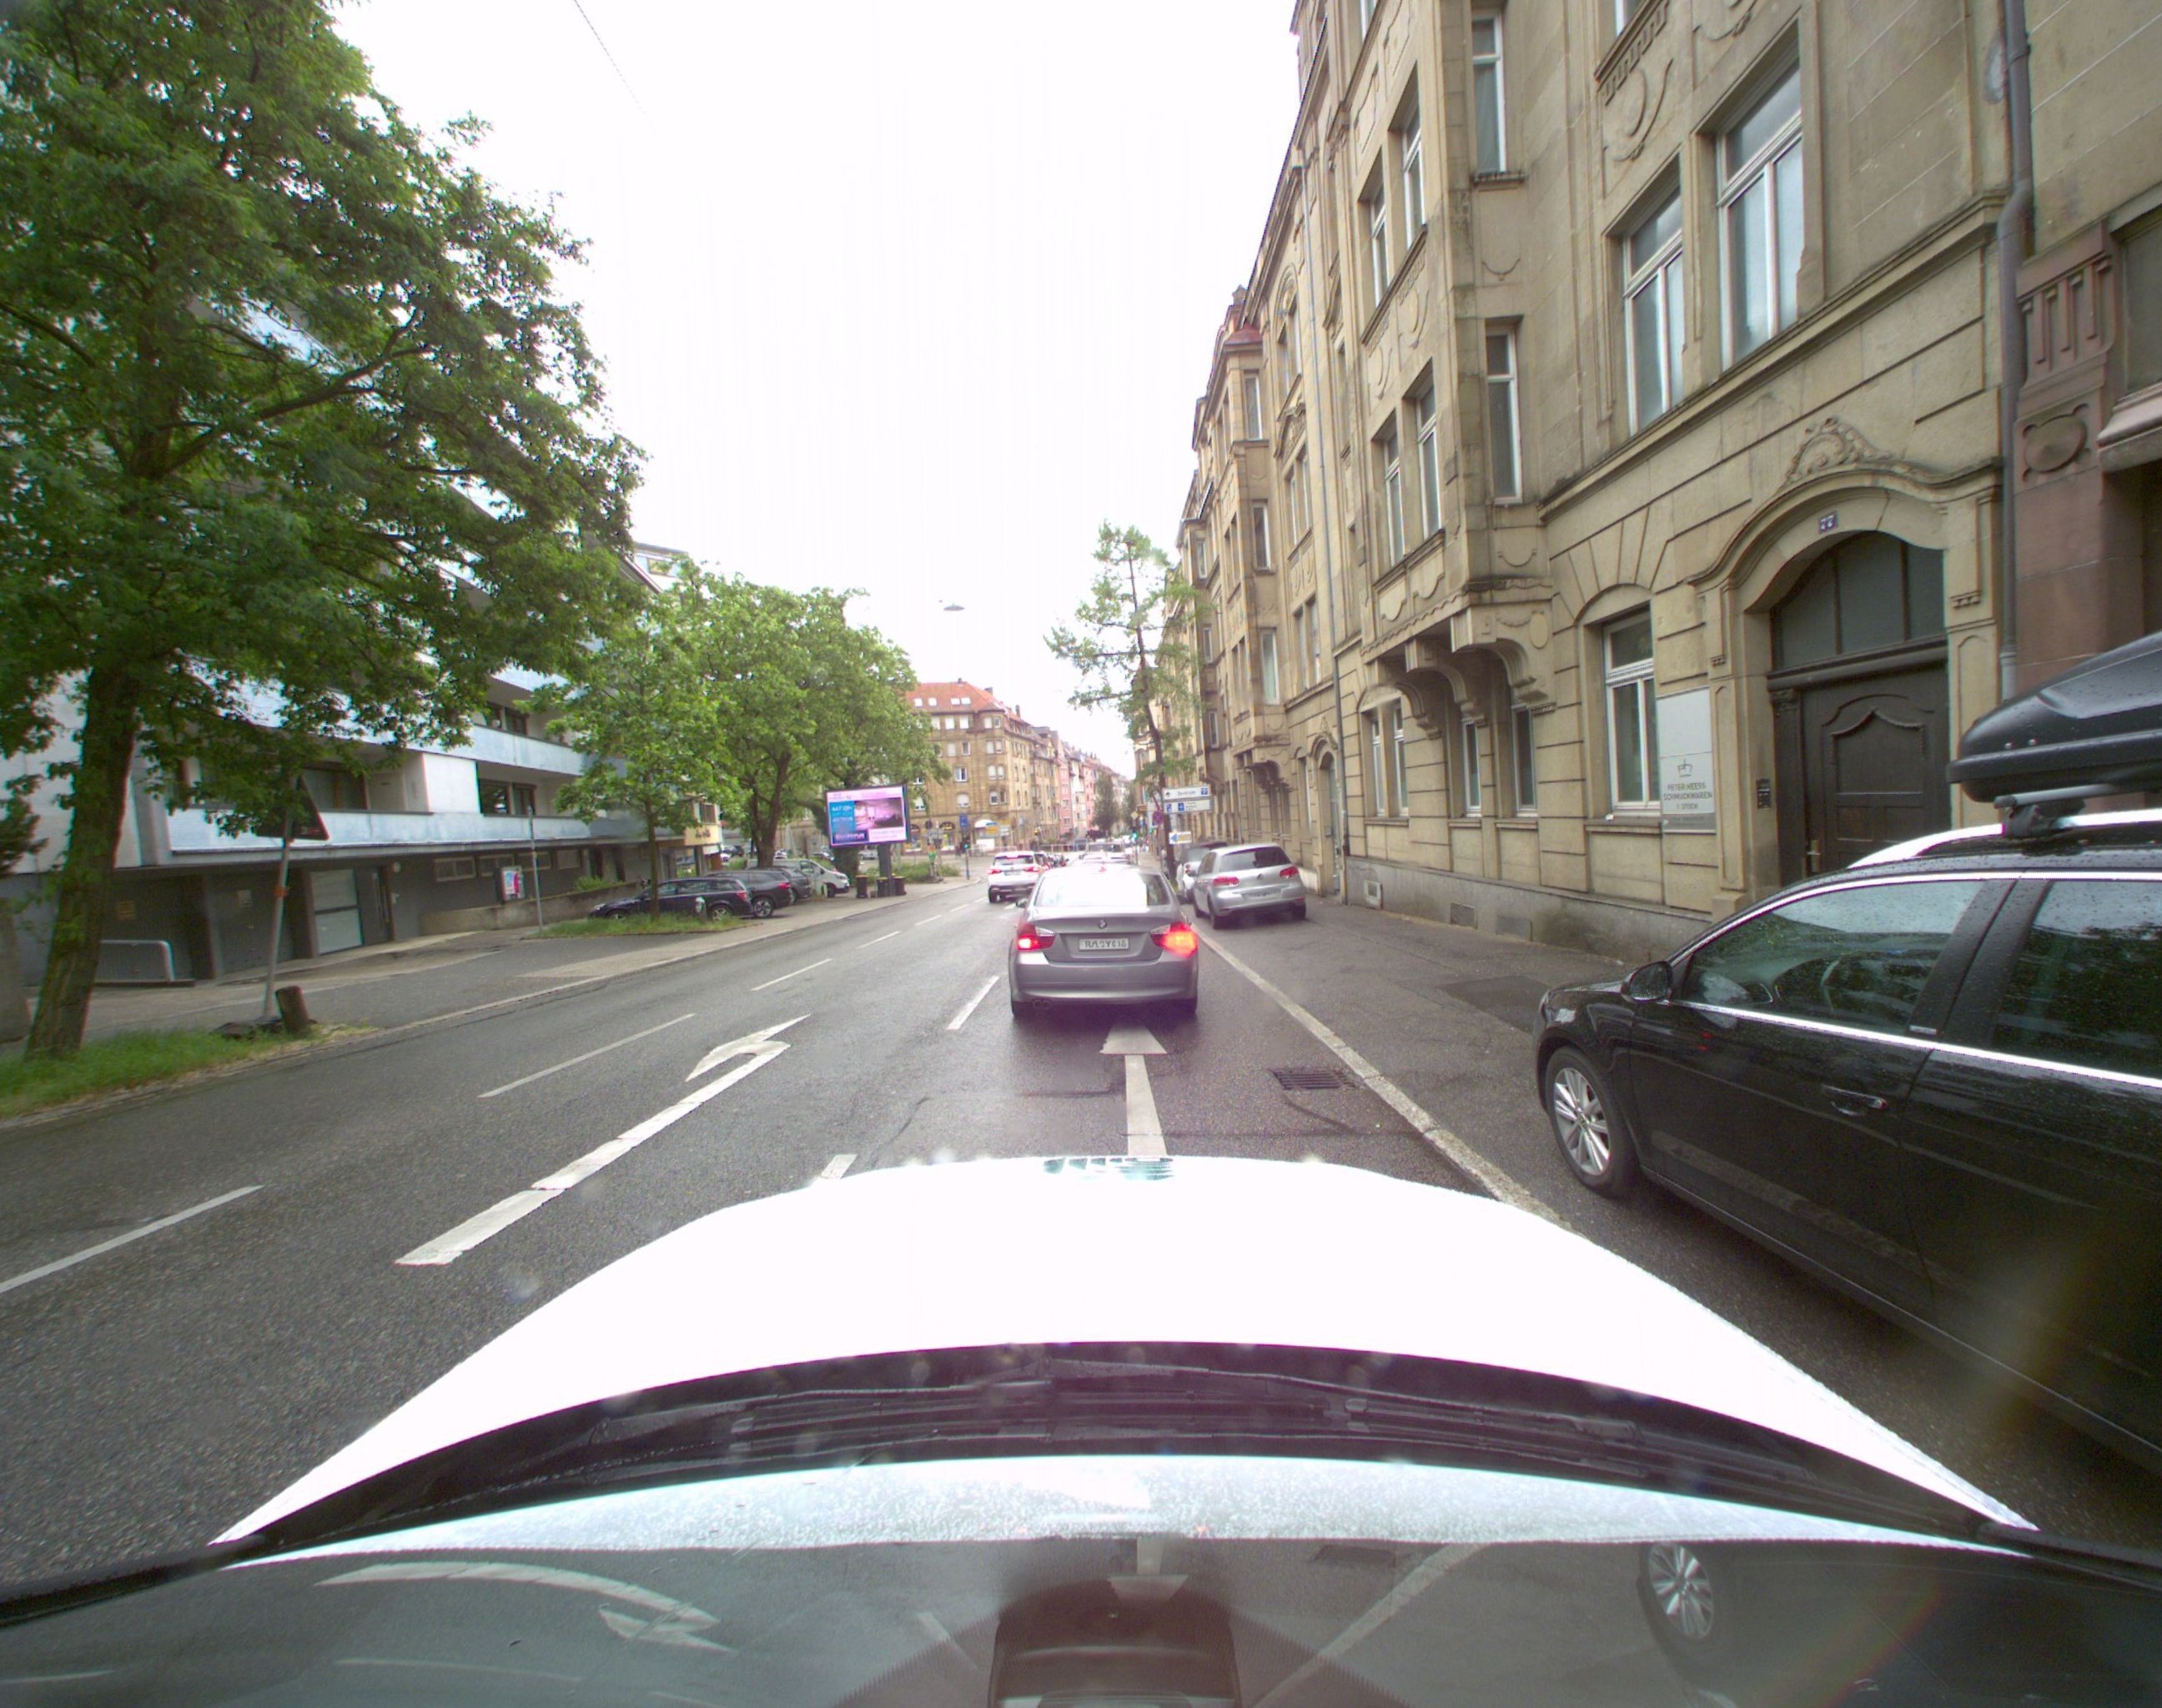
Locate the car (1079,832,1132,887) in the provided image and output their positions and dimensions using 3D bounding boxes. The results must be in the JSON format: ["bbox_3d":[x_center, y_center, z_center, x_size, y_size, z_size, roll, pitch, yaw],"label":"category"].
[{"bbox_3d":[1.020,0.214,33.492,1.986,2.106,4.002,-2,0,2],"label":"car"}]

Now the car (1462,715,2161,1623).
[{"bbox_3d":[2.774,0.479,1.976,1.753,1.651,4.101,-7,0,2],"label":"car"}]

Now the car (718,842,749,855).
[{"bbox_3d":[-46.688,-0.697,109.327,3.949,1.689,1.738,-1,-1,29],"label":"car"}]

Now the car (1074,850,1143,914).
[{"bbox_3d":[0.753,0.643,21.105,1.588,1.464,4.003,-1,0,3],"label":"car"}]

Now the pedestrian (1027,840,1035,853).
[{"bbox_3d":[-6.246,-0.948,101.764,0.727,1.577,0.530,-3,0,10],"label":"pedestrian"}]

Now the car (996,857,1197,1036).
[{"bbox_3d":[0.219,0.770,8.522,1.617,1.383,3.618,-2,0,3],"label":"car"}]

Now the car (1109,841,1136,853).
[{"bbox_3d":[5.872,-0.941,114.271,1.974,1.578,4.025,-1,-1,34],"label":"car"}]

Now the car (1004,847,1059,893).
[{"bbox_3d":[-1.972,0.607,33.320,1.752,1.707,4.003,-2,0,3],"label":"car"}]

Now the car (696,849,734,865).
[{"bbox_3d":[-43.745,0.335,97.405,4.195,1.726,2.013,-2,3,31],"label":"car"}]

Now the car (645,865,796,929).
[{"bbox_3d":[-11.958,1.385,27.300,4.382,1.672,1.842,-4,0,-21],"label":"car"}]

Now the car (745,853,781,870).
[{"bbox_3d":[-41.331,0.965,105.779,4.238,2.101,2.013,0,2,30],"label":"car"}]

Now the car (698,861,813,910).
[{"bbox_3d":[-13.799,1.302,34.827,4.370,1.784,1.927,-3,0,-19],"label":"car"}]

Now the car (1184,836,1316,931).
[{"bbox_3d":[3.222,0.512,16.314,1.753,1.451,4.001,-7,0,1],"label":"car"}]

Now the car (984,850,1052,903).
[{"bbox_3d":[-2.080,0.700,27.934,1.861,1.625,4.001,-2,0,1],"label":"car"}]

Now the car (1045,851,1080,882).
[{"bbox_3d":[-1.081,0.713,49.187,1.752,1.707,4.003,-2,0,3],"label":"car"}]

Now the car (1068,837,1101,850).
[{"bbox_3d":[0.636,-1.700,130.010,5.158,2.014,2.699,0,-1,1],"label":"car"}]

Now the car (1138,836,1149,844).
[{"bbox_3d":[9.355,-2.084,122.852,1.429,1.174,3.435,0,0,1],"label":"car"}]

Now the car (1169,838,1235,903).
[{"bbox_3d":[3.327,0.420,22.733,1.295,1.543,2.977,-7,0,1],"label":"car"}]

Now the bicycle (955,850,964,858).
[{"bbox_3d":[-14.429,0.015,96.693,0.569,0.858,1.527,-1,-1,13],"label":"bicycle"}]

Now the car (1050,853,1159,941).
[{"bbox_3d":[0.497,0.713,15.482,1.752,1.383,4.003,-2,0,3],"label":"car"}]

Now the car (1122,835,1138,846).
[{"bbox_3d":[7.295,-2.009,120.808,1.983,1.578,4.008,0,-1,7],"label":"car"}]

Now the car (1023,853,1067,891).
[{"bbox_3d":[-1.764,0.869,40.812,1.752,1.707,4.003,-2,0,3],"label":"car"}]

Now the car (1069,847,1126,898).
[{"bbox_3d":[0.628,0.567,27.553,1.752,1.567,4.003,-2,0,3],"label":"car"}]

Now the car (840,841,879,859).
[{"bbox_3d":[-26.509,-0.505,97.508,4.238,2.101,2.013,0,2,30],"label":"car"}]

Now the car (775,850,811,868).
[{"bbox_3d":[-36.736,0.639,103.732,4.238,2.101,2.013,0,2,30],"label":"car"}]

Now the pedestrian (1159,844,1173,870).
[{"bbox_3d":[5.365,0.184,51.311,0.629,1.508,0.693,-7,0,1],"label":"pedestrian"}]

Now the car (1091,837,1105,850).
[{"bbox_3d":[2.178,-1.328,103.154,1.709,1.450,3.743,-3,0,1],"label":"car"}]

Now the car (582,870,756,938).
[{"bbox_3d":[-12.243,1.440,24.555,4.373,1.574,1.930,-4,0,-21],"label":"car"}]

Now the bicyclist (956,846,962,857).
[{"bbox_3d":[-14.486,-0.266,96.645,0.565,1.273,0.692,-1,-1,13],"label":"bicyclist"}]

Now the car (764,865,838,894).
[{"bbox_3d":[-16.255,1.449,47.389,3.985,1.450,1.758,-3,0,-19],"label":"car"}]

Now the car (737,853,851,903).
[{"bbox_3d":[-14.030,1.144,39.992,5.076,2.105,1.979,-3,0,-19],"label":"car"}]
